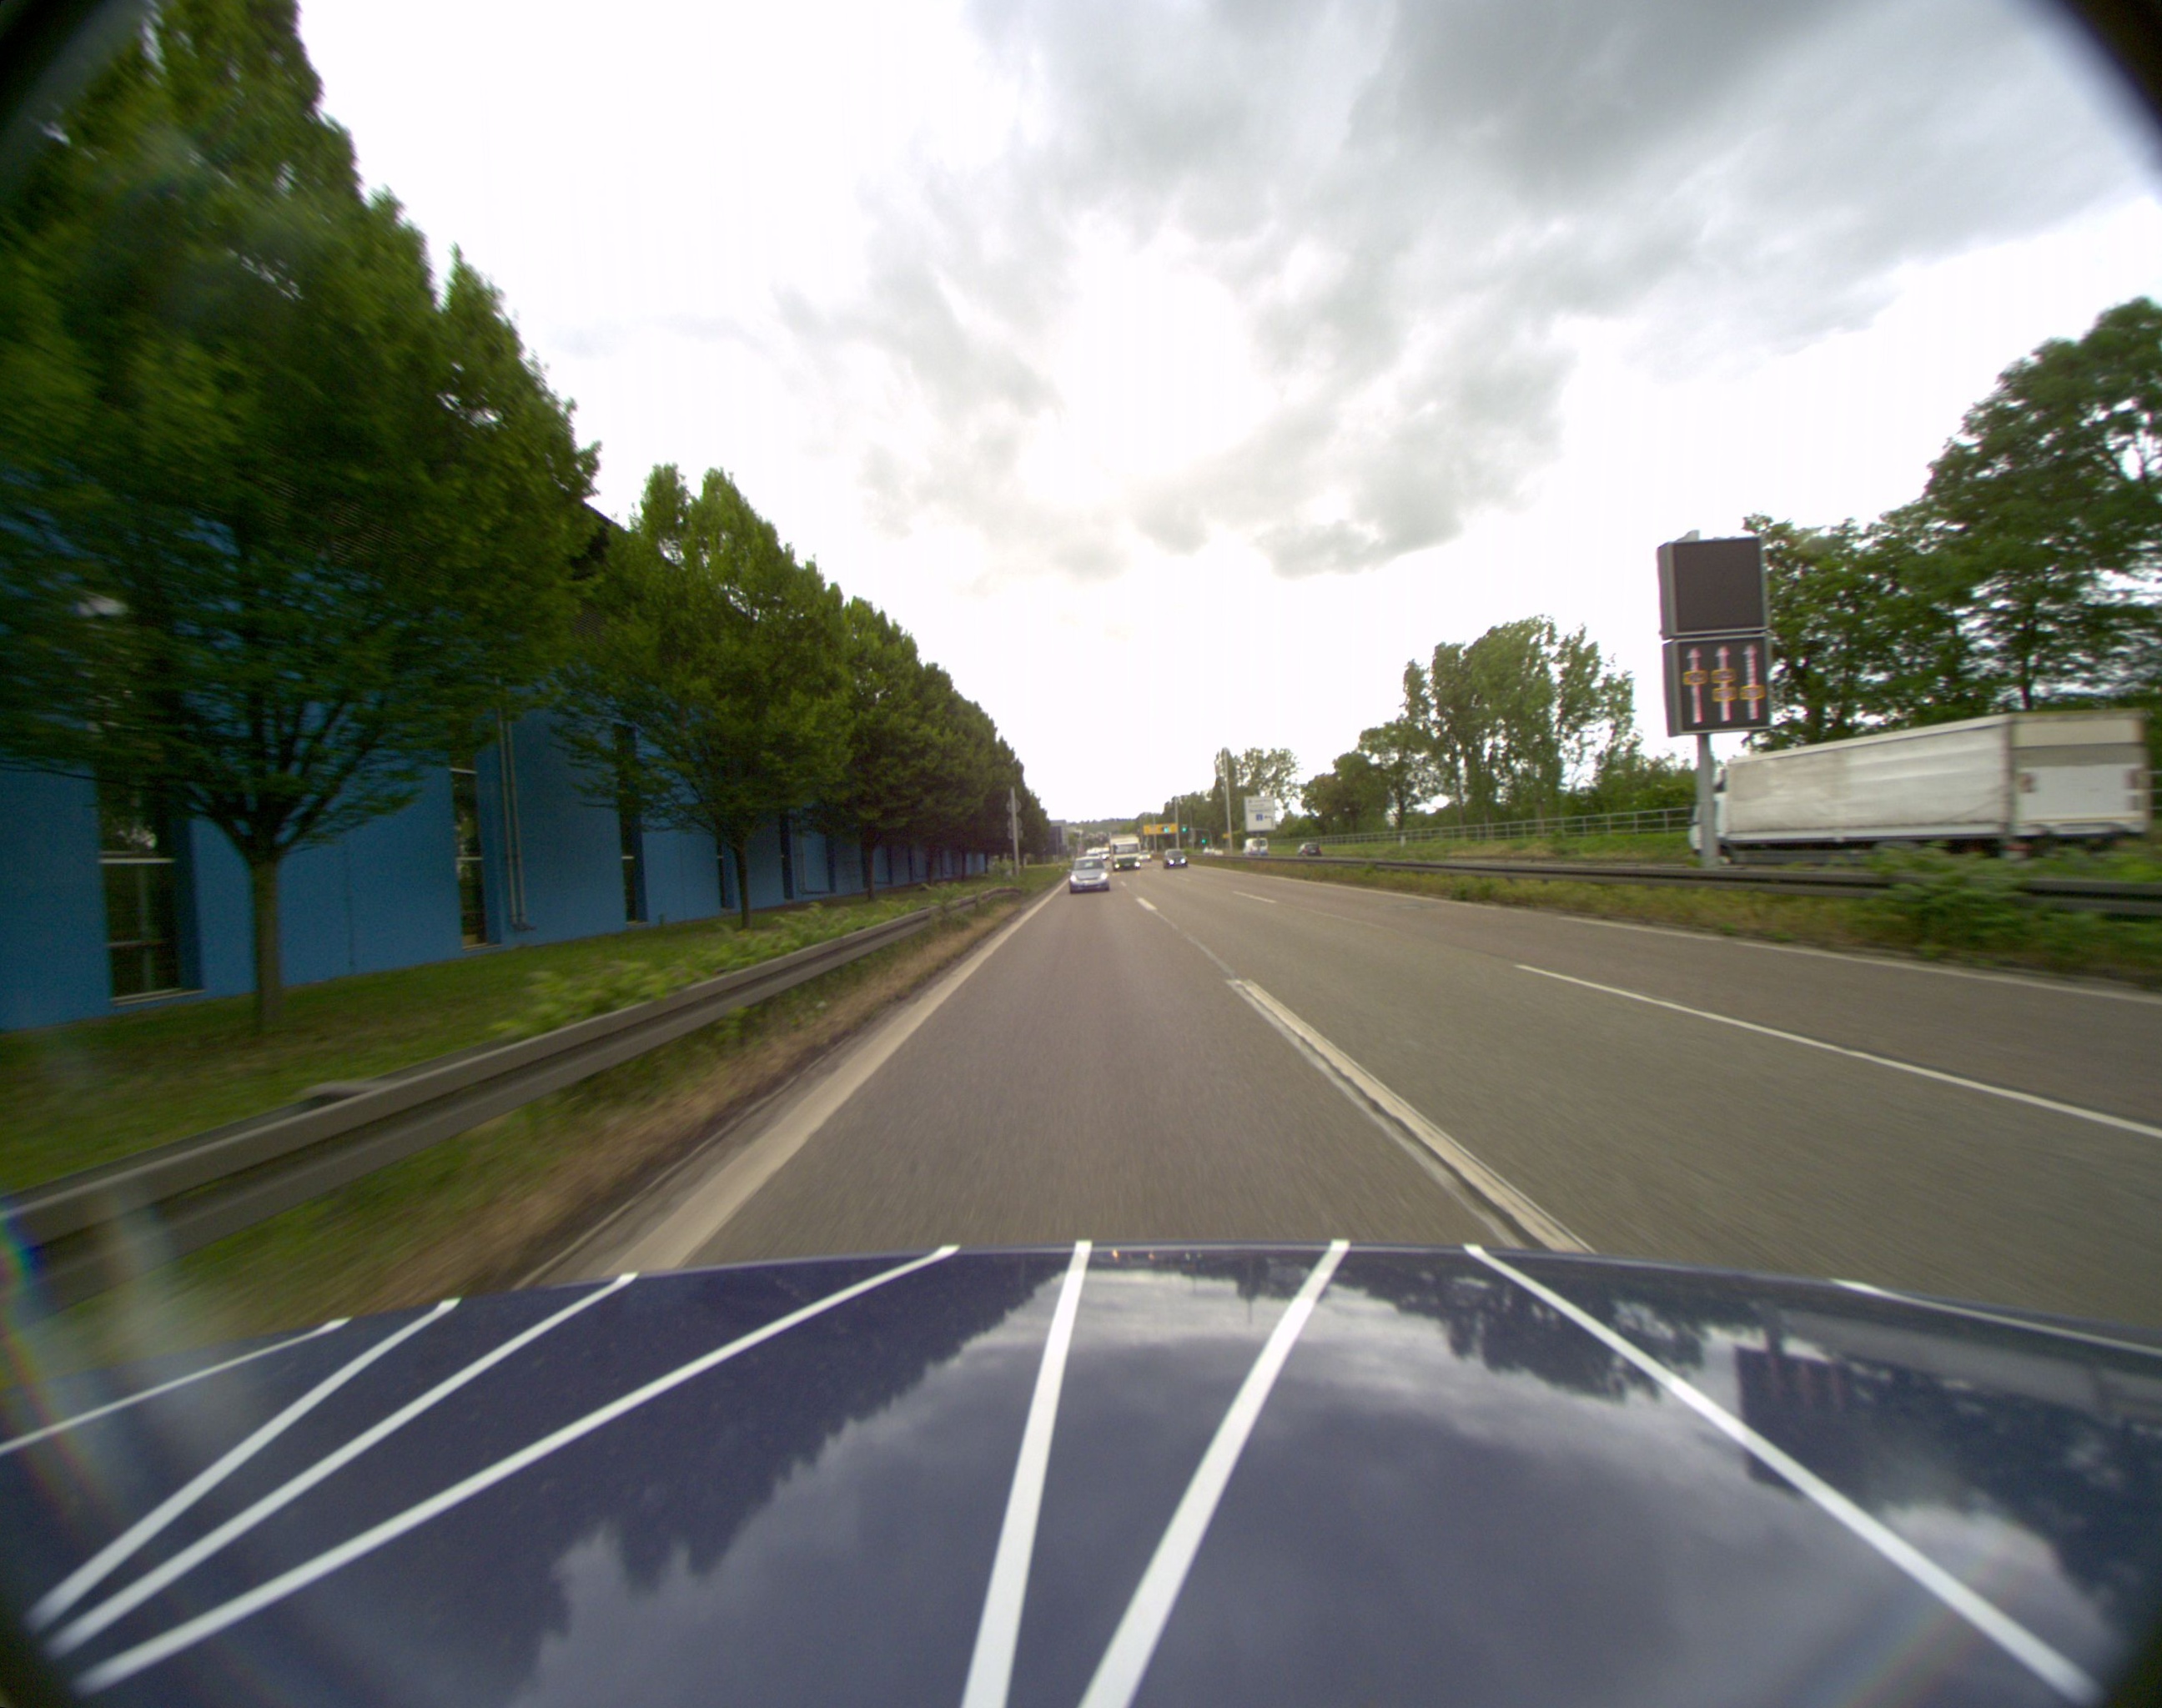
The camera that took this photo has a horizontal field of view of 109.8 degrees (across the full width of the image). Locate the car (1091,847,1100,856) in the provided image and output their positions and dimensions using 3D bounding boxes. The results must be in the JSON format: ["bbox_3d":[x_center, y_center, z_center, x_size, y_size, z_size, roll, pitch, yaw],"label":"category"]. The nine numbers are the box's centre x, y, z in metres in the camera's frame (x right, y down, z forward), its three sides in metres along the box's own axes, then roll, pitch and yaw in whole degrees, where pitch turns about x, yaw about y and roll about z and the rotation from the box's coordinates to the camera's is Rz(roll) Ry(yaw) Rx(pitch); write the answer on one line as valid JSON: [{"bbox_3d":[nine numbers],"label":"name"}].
[{"bbox_3d":[3.198,-0.627,170.179,1.949,1.811,4.000,-4,0,0],"label":"car"}]

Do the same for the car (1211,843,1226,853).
[{"bbox_3d":[20.923,-0.850,115.669,1.663,1.390,3.989,-4,0,1],"label":"car"}]

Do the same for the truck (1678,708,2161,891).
[{"bbox_3d":[20.919,-1.140,20.151,2.896,3.558,9.588,-3,0,3],"label":"truck"}]

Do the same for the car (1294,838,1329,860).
[{"bbox_3d":[19.952,-0.426,65.817,1.883,1.714,4.147,-4,0,3],"label":"car"}]

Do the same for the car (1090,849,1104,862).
[{"bbox_3d":[2.301,0.191,110.079,1.883,1.714,4.146,-4,0,0],"label":"car"}]

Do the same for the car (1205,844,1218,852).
[{"bbox_3d":[25.429,-1.126,148.330,1.883,1.481,4.202,-4,0,1],"label":"car"}]

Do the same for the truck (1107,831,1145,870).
[{"bbox_3d":[4.089,-0.267,71.568,2.657,3.120,12.509,-4,0,0],"label":"truck"}]

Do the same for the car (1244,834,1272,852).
[{"bbox_3d":[20.656,-1.257,89.004,2.231,1.936,5.475,-3,0,3],"label":"car"}]

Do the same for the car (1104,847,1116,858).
[{"bbox_3d":[5.837,-0.254,153.230,1.949,2.176,4.000,-4,0,0],"label":"car"}]

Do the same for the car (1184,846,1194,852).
[{"bbox_3d":[25.935,-1.182,182.720,1.664,1.291,4.788,-4,0,0],"label":"car"}]

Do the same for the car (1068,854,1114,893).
[{"bbox_3d":[0.424,0.853,34.754,1.883,1.530,4.146,-4,0,0],"label":"car"}]

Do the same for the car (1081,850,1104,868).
[{"bbox_3d":[1.012,0.457,70.306,1.949,1.516,4.000,-4,0,0],"label":"car"}]

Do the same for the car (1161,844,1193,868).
[{"bbox_3d":[7.583,0.172,60.451,1.883,1.714,4.146,-4,0,0],"label":"car"}]

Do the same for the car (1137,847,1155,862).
[{"bbox_3d":[8.532,0.071,99.426,1.883,1.714,4.146,-4,0,0],"label":"car"}]
